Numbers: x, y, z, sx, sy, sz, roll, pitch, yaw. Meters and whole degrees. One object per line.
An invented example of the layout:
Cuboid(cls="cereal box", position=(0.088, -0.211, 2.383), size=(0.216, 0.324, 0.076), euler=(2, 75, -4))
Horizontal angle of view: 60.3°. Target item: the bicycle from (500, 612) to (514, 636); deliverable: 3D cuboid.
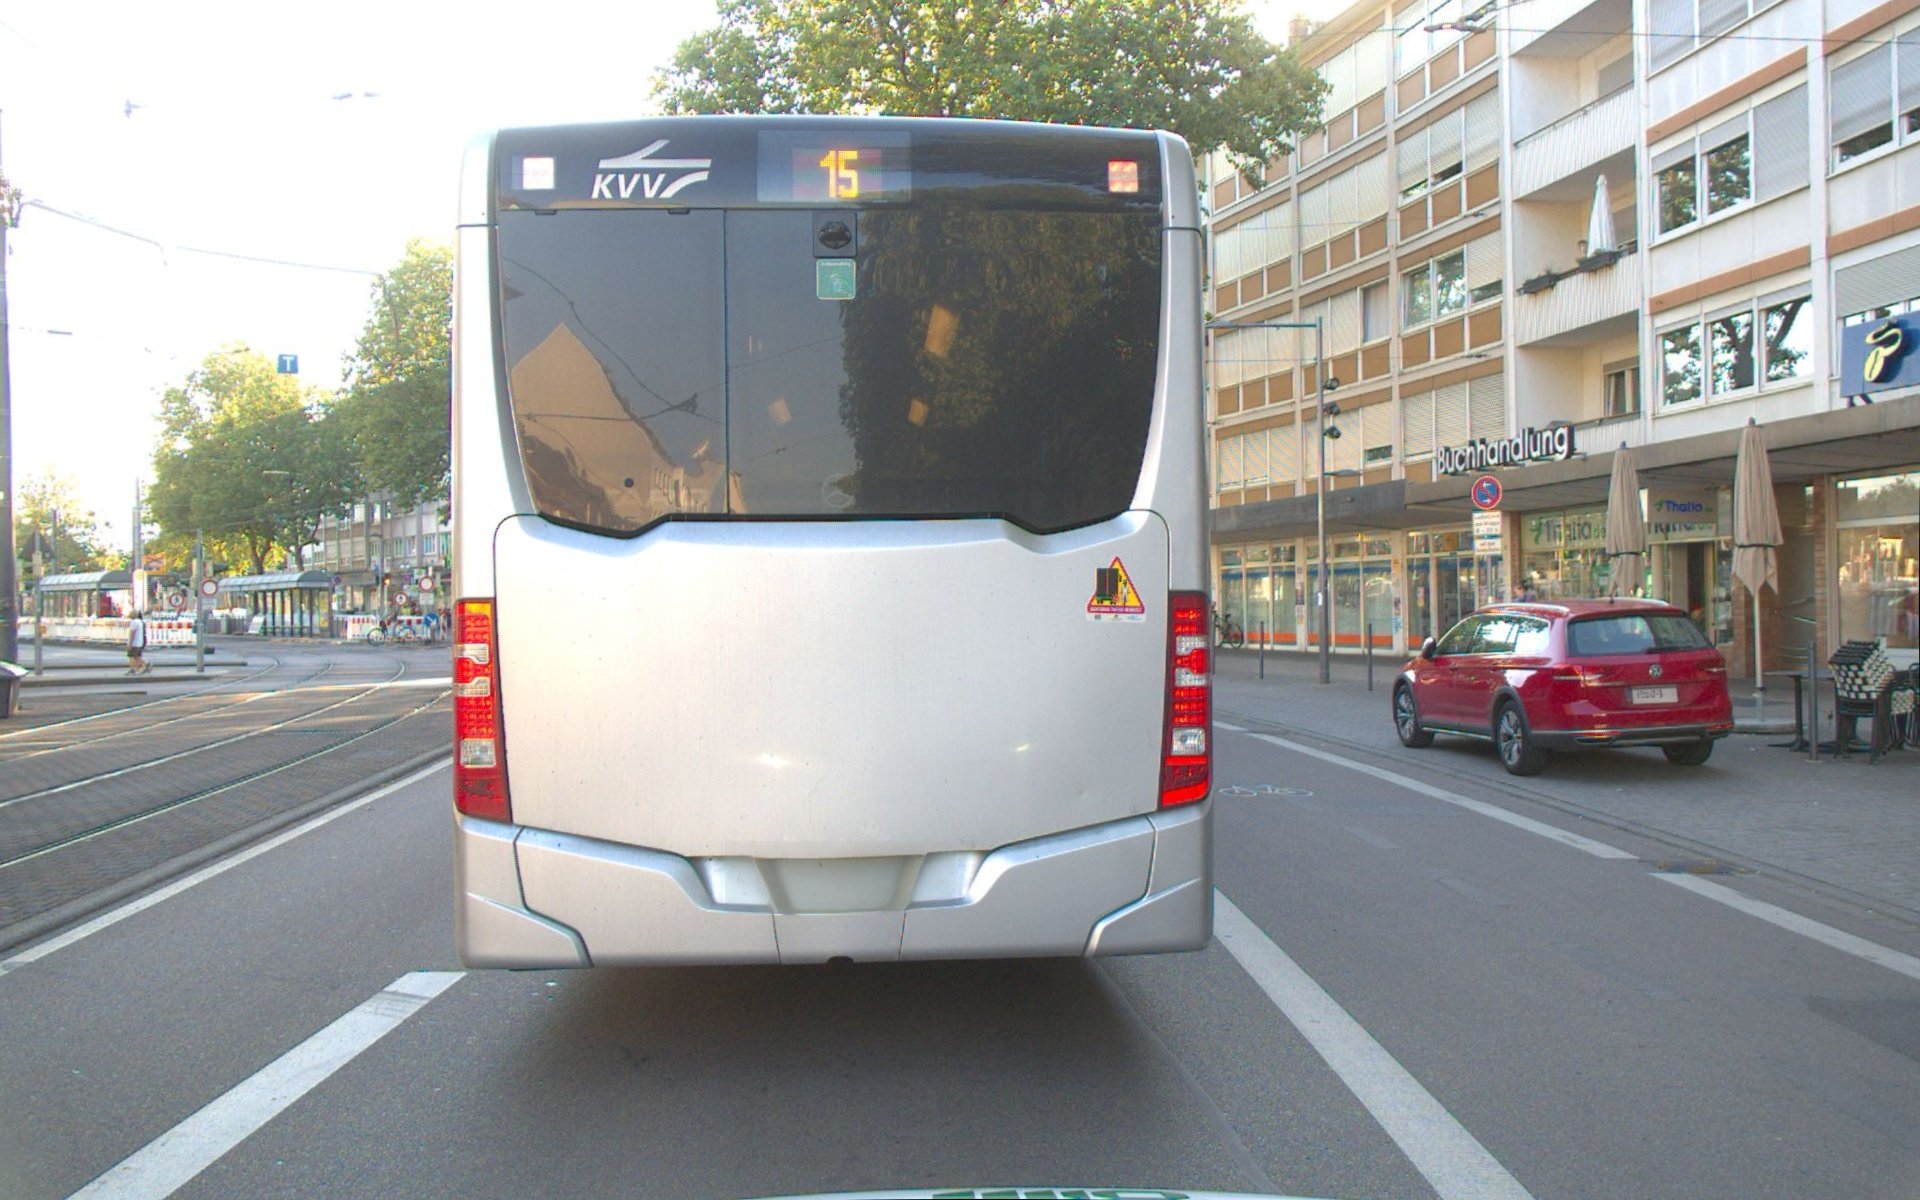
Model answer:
Cuboid(cls="bicycle", position=(-23.167, 1.227, 84.572), size=(0.500, 1.232, 2.079), euler=(-1, 0, -21))

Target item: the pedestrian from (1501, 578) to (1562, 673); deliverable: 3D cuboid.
Cuboid(cls="pedestrian", position=(9.786, 0.431, 28.339), size=(0.629, 1.579, 0.804), euler=(-1, 0, -15))

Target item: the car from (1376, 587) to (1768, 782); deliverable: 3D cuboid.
Cuboid(cls="car", position=(5.685, 0.705, 16.062), size=(1.744, 1.522, 4.563), euler=(-3, 0, -5))

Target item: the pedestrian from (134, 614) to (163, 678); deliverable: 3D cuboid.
Cuboid(cls="pedestrian", position=(-19.712, 1.120, 40.191), size=(0.399, 1.530, 0.517), euler=(-1, 0, 5))

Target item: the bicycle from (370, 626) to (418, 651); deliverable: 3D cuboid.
Cuboid(cls="bicycle", position=(-22.816, 1.535, 66.693), size=(1.811, 0.959, 0.461), euler=(-1, 0, -17))

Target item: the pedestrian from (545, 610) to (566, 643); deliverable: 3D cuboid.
Cuboid(cls="pedestrian", position=(-16.620, 1.072, 68.016), size=(0.766, 1.326, 0.590), euler=(-1, 0, -22))

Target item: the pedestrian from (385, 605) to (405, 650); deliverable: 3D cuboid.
Cuboid(cls="pedestrian", position=(-22.620, 1.096, 66.253), size=(0.708, 1.755, 0.397), euler=(-1, 0, -17))

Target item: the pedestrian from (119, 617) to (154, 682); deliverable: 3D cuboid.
Cuboid(cls="pedestrian", position=(-19.712, 1.170, 39.591), size=(0.509, 1.530, 0.594), euler=(-1, 0, 6))

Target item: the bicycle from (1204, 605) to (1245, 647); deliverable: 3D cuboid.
Cuboid(cls="bicycle", position=(7.274, 0.698, 45.554), size=(0.431, 1.111, 1.453), euler=(-3, 1, -20))

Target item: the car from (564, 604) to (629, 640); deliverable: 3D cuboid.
Cuboid(cls="car", position=(-17.011, 1.025, 77.392), size=(1.650, 1.542, 3.367), euler=(-5, 3, -37))

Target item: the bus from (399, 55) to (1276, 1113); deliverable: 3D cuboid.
Cuboid(cls="bus", position=(-0.581, -0.037, 10.103), size=(2.605, 3.153, 10.210), euler=(-1, 0, -3))

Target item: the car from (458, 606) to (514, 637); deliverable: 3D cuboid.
Cuboid(cls="car", position=(-25.109, 1.111, 87.643), size=(1.651, 1.494, 3.365), euler=(-5, 3, -38))
